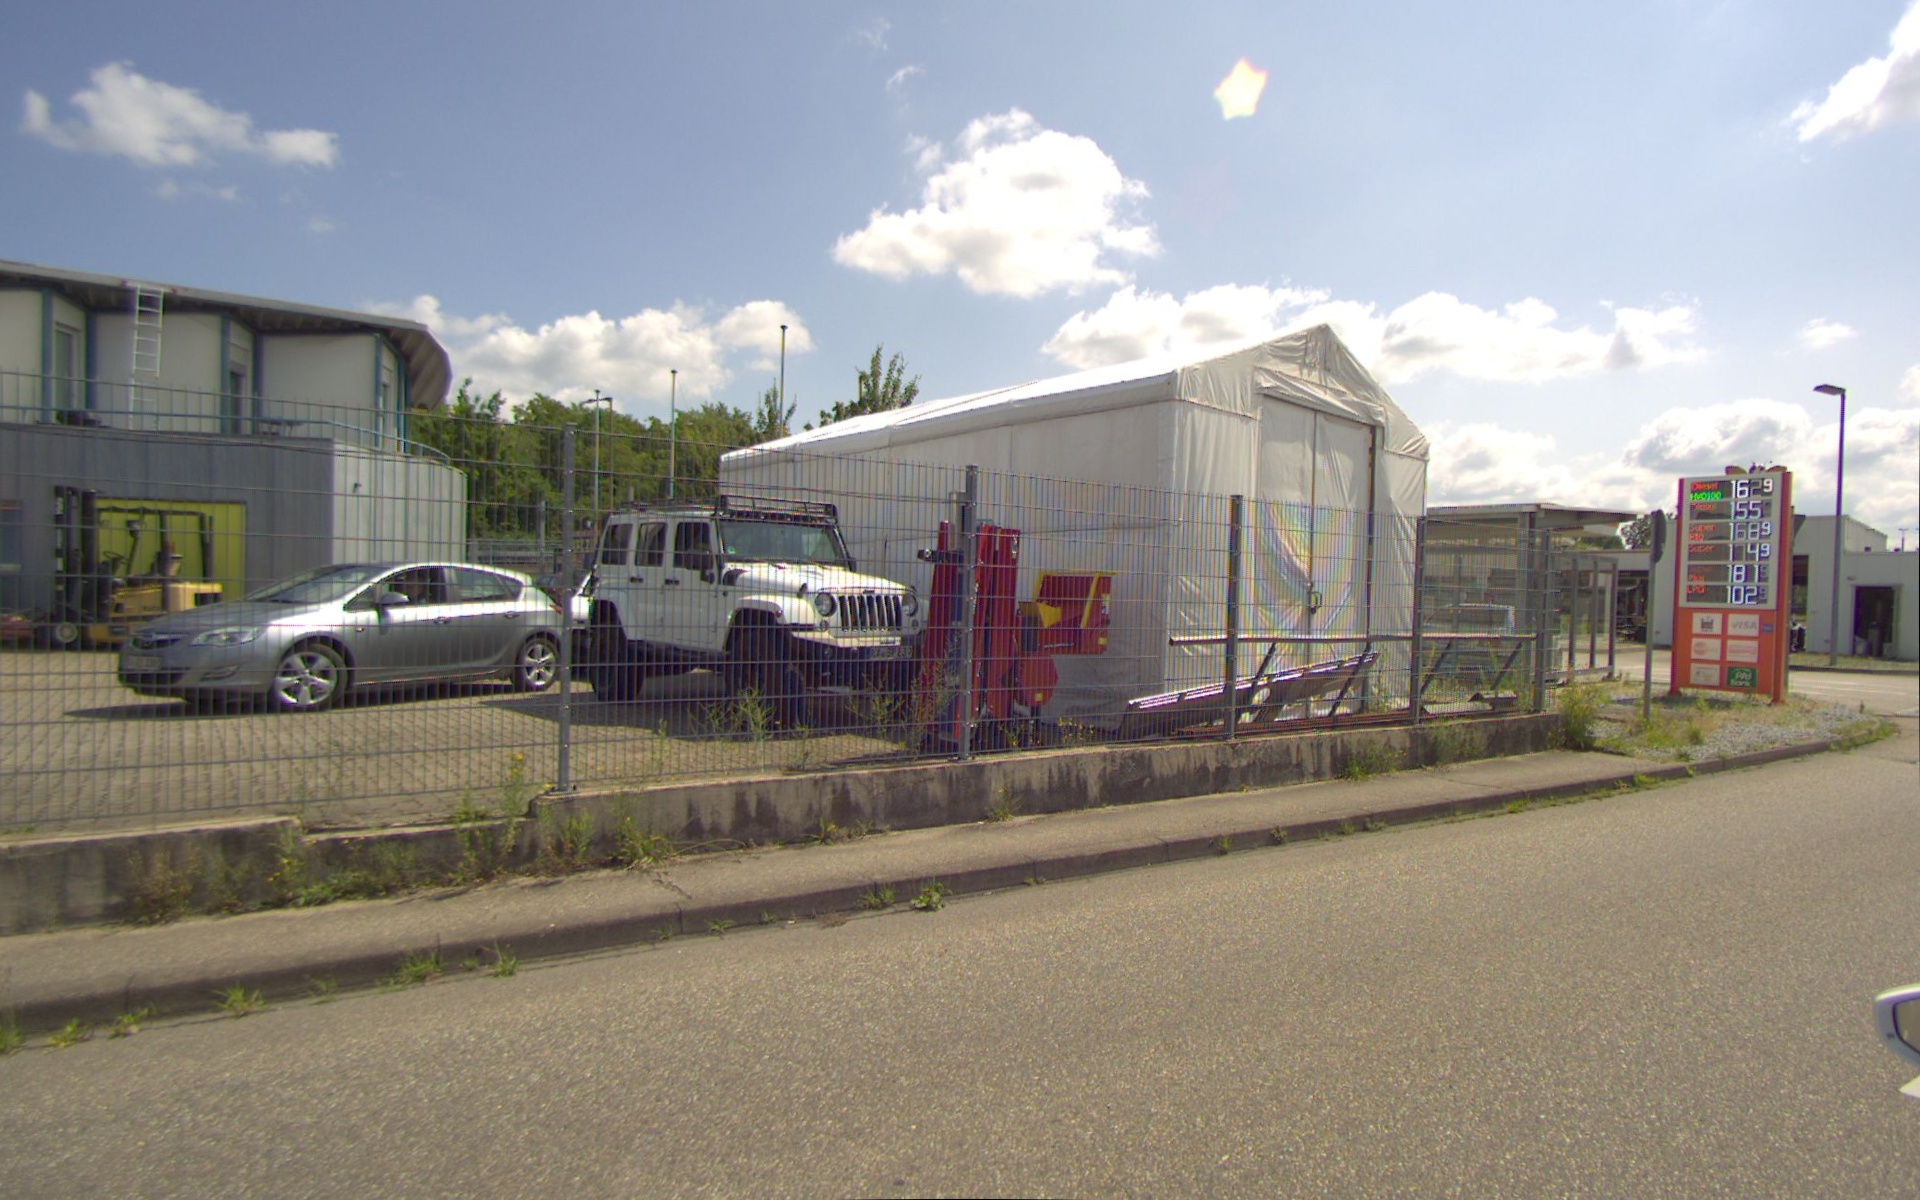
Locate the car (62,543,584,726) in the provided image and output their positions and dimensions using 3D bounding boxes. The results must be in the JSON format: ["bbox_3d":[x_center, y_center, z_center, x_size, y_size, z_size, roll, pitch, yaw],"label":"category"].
[{"bbox_3d":[-6.225,0.273,10.468,1.886,1.449,4.262,3,1,22],"label":"car"}]

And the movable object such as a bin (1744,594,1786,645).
[{"bbox_3d":[36.802,0.903,45.889,2.685,2.181,1.052,3,-1,-43],"label":"movable object such as a bin"}]

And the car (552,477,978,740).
[{"bbox_3d":[-2.157,0.058,10.171,4.508,2.053,2.046,1,0,45],"label":"car"}]

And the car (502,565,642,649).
[{"bbox_3d":[-10.502,0.158,26.991,1.984,2.040,4.797,1,0,-41],"label":"car"}]

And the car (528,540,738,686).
[{"bbox_3d":[-4.755,0.187,15.344,1.962,1.857,4.413,1,0,-4],"label":"car"}]

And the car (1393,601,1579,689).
[{"bbox_3d":[10.083,0.801,19.067,1.896,1.396,4.763,3,1,43],"label":"car"}]

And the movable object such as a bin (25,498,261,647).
[{"bbox_3d":[-12.693,-0.428,15.743,2.331,2.133,1.635,2,2,-5],"label":"movable object such as a bin"}]

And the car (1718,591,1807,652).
[{"bbox_3d":[30.299,0.800,37.871,4.976,2.137,1.974,2,0,-44],"label":"car"}]
